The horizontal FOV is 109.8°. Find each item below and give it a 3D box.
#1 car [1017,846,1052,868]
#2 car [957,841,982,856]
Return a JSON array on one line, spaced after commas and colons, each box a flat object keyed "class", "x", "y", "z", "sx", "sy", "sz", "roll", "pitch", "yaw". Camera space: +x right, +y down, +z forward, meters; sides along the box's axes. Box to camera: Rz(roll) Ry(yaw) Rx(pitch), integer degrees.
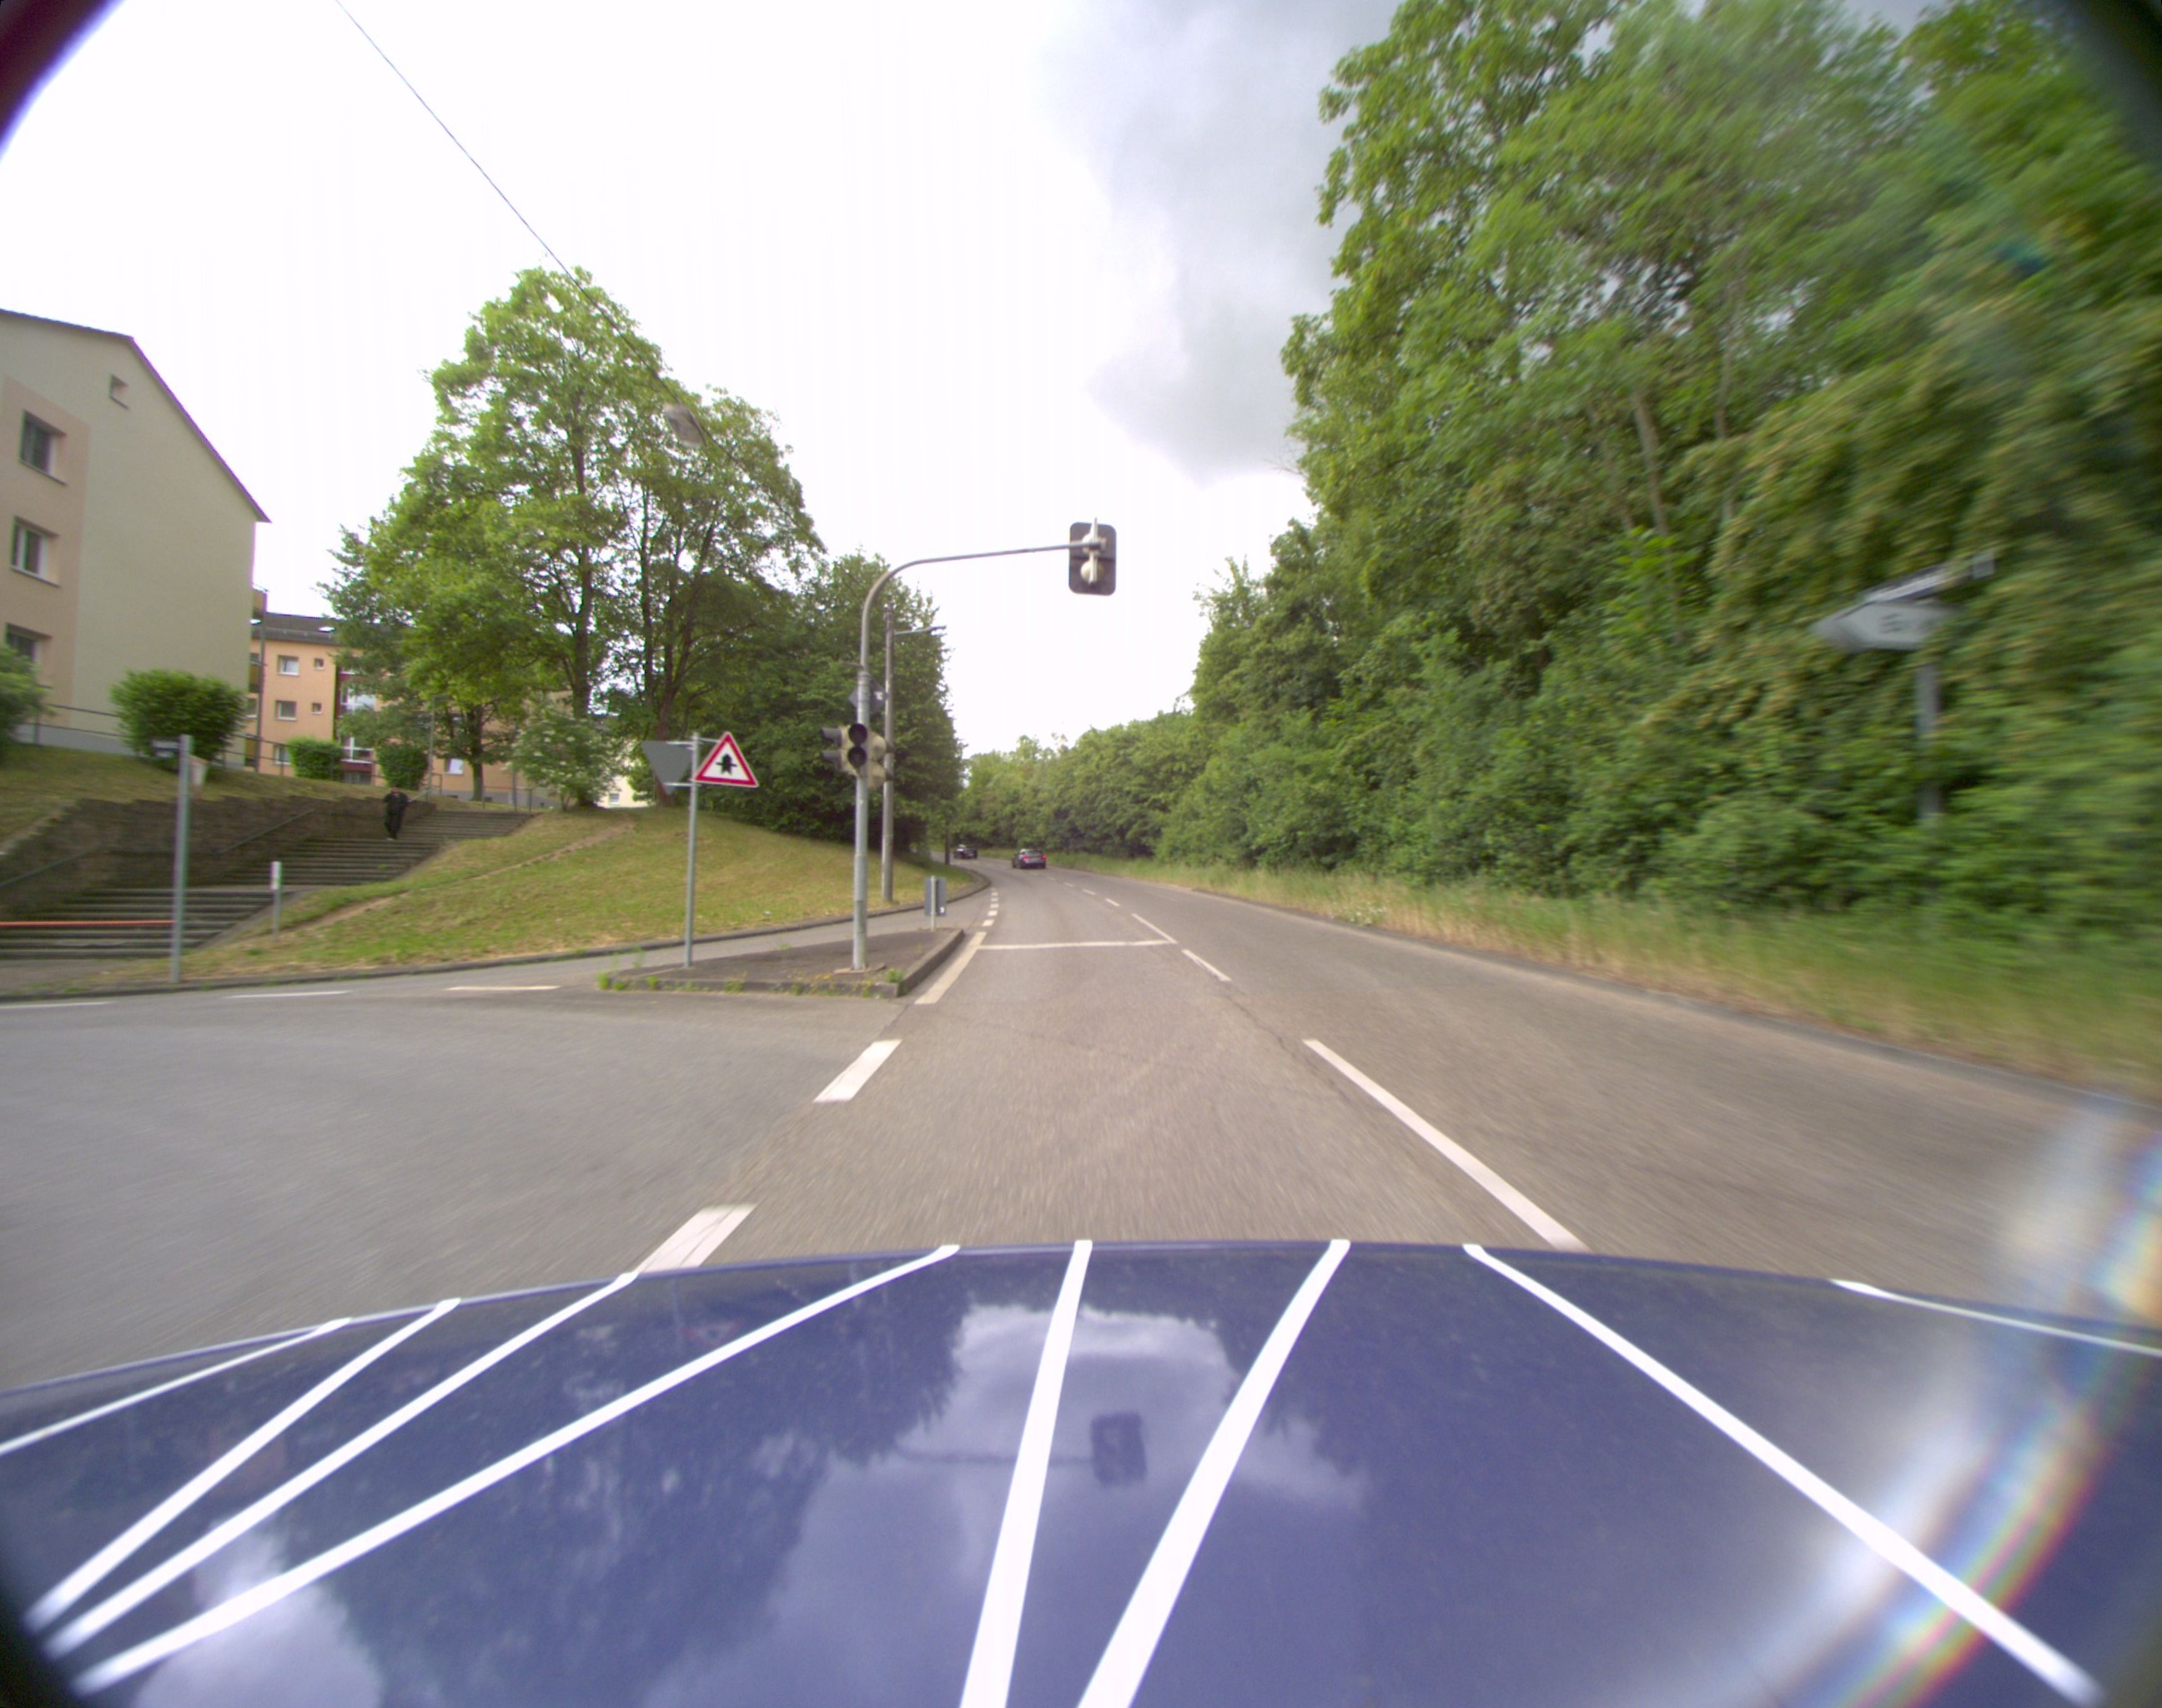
[{"class": "car", "x": -3.492, "y": 0.181, "z": 55.868, "sx": 1.905, "sy": 1.346, "sz": 4.836, "roll": -3, "pitch": 2, "yaw": -11}, {"class": "car", "x": -11.615, "y": -0.572, "z": 79.115, "sx": 1.809, "sy": 1.426, "sz": 4.652, "roll": -3, "pitch": 2, "yaw": -17}]
